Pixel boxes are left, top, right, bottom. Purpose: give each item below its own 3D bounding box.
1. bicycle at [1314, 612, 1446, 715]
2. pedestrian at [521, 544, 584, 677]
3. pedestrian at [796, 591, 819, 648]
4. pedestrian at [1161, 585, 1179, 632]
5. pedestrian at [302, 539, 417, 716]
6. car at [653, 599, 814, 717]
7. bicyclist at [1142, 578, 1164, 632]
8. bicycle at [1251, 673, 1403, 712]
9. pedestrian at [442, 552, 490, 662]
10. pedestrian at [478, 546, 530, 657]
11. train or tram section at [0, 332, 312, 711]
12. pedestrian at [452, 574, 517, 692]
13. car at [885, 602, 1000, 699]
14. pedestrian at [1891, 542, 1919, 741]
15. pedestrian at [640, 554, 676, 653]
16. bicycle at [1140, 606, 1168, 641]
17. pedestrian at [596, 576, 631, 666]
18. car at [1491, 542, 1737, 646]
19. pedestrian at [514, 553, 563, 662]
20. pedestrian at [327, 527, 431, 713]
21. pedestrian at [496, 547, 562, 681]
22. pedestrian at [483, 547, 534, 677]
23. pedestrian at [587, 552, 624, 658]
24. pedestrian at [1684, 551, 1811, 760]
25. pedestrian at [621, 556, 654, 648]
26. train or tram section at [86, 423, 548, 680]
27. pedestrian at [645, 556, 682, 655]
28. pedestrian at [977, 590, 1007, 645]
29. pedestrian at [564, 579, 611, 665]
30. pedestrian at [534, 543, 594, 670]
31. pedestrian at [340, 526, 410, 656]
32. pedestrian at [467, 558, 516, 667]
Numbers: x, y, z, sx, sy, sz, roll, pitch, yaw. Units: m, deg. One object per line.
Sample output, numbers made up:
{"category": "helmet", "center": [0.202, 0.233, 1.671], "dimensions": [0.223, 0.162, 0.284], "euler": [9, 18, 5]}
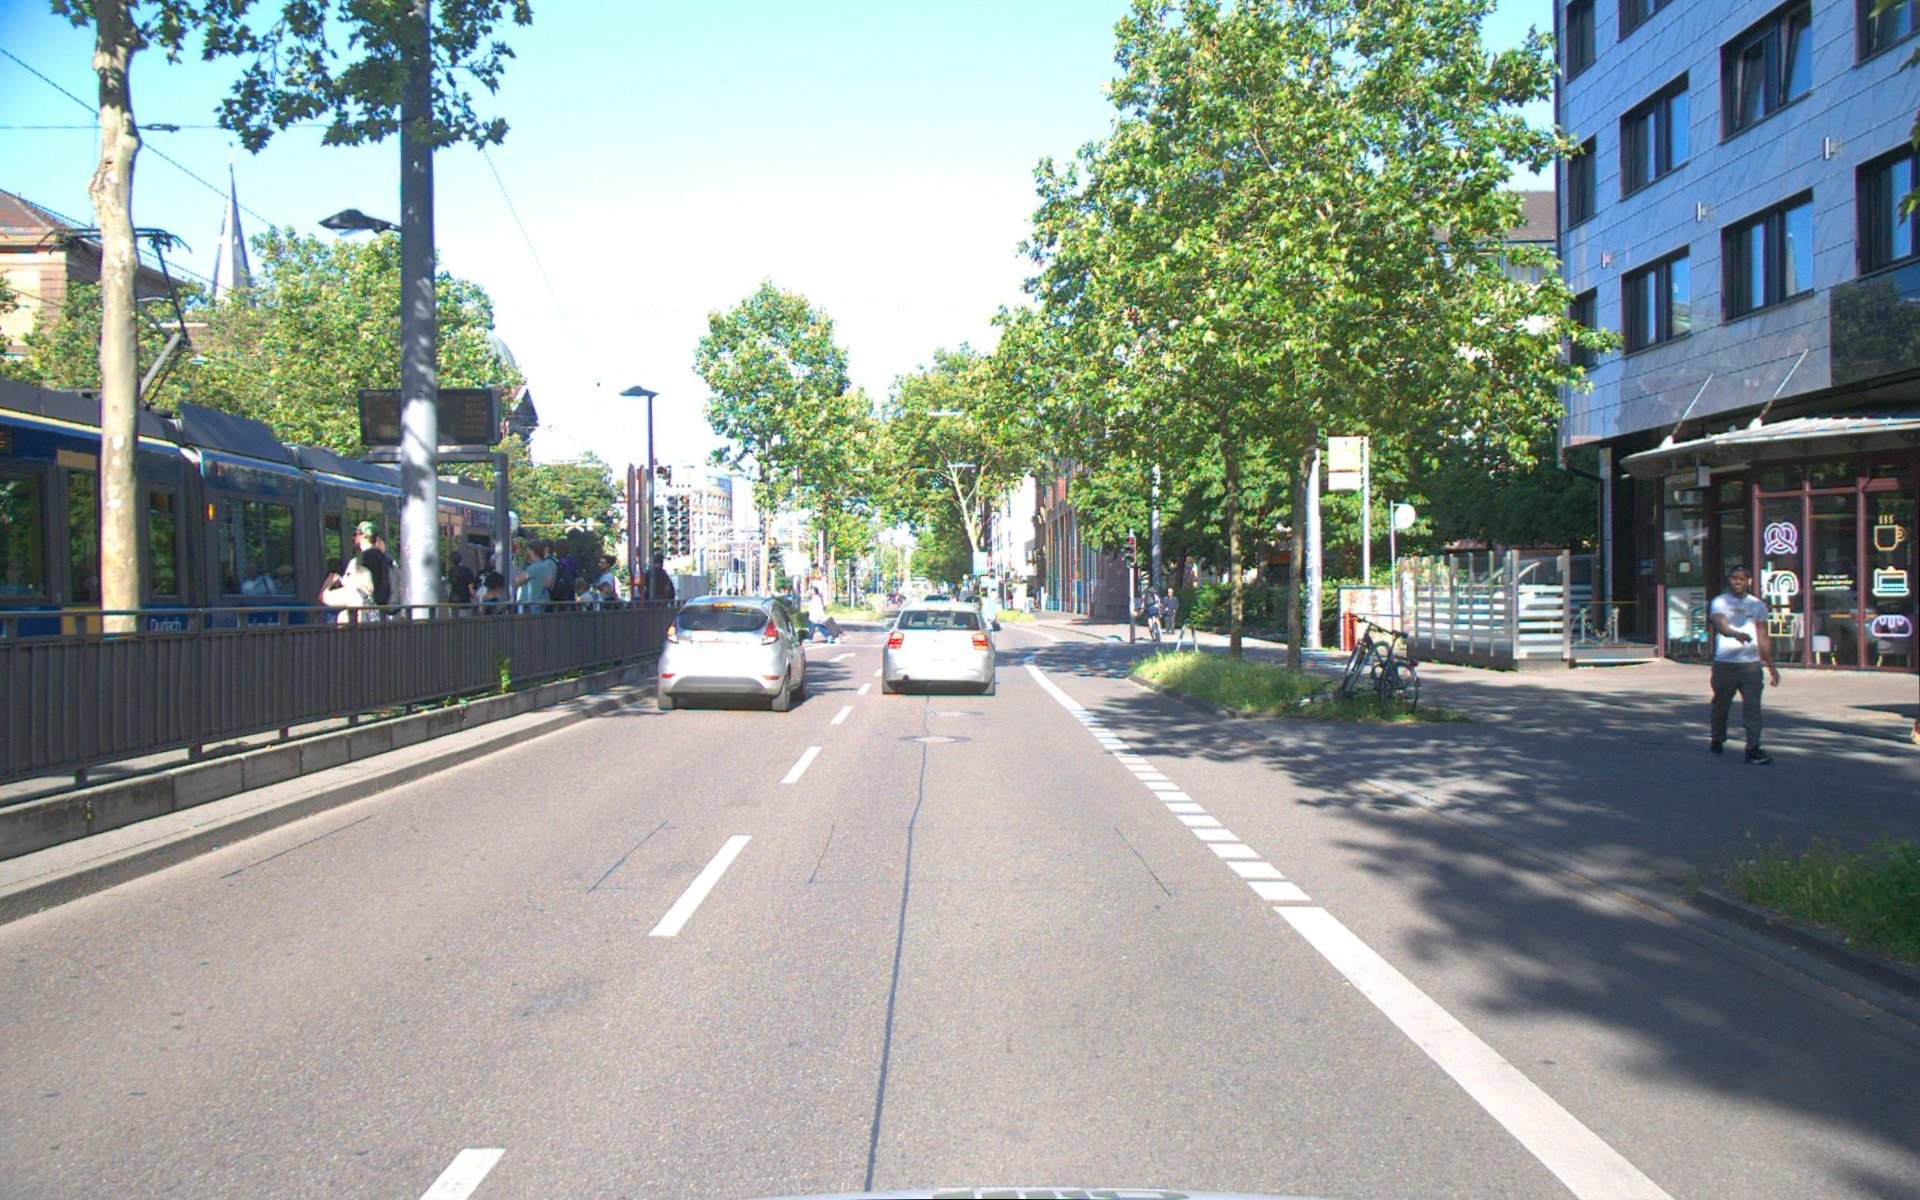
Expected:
{"category": "bicycle", "center": [5.030, 0.734, 19.948], "dimensions": [0.774, 1.153, 1.840], "euler": [-1, 0, -13]}
{"category": "pedestrian", "center": [-5.392, 0.136, 21.920], "dimensions": [0.647, 1.726, 0.571], "euler": [-1, 0, 0]}
{"category": "pedestrian", "center": [-4.480, 0.574, 48.520], "dimensions": [0.626, 1.648, 0.641], "euler": [-1, -2, -5]}
{"category": "pedestrian", "center": [7.475, 0.301, 58.853], "dimensions": [0.613, 1.657, 0.944], "euler": [0, 0, 8]}
{"category": "pedestrian", "center": [-5.402, 0.240, 14.917], "dimensions": [0.760, 1.536, 0.751], "euler": [-2, 0, -4]}
{"category": "car", "center": [-2.942, 0.712, 22.138], "dimensions": [1.626, 1.434, 3.632], "euler": [0, 0, 0]}
{"category": "bicyclist", "center": [6.152, 0.146, 52.652], "dimensions": [0.644, 1.686, 0.765], "euler": [-2, 0, 8]}
{"category": "bicycle", "center": [4.525, 1.135, 20.536], "dimensions": [1.576, 0.359, 1.389], "euler": [-1, 0, -1]}
{"category": "pedestrian", "center": [-7.932, 0.113, 26.573], "dimensions": [0.597, 1.732, 0.545], "euler": [-1, 0, -5]}
{"category": "pedestrian", "center": [-7.269, 0.020, 26.389], "dimensions": [0.620, 1.732, 0.746], "euler": [-1, 0, -5]}
{"category": "train or tram section", "center": [-9.835, -0.712, 13.659], "dimensions": [2.855, 3.317, 15.889], "euler": [1, -1, -1]}
{"category": "pedestrian", "center": [-5.262, 0.355, 18.321], "dimensions": [0.523, 1.268, 0.604], "euler": [-2, 0, -3]}
{"category": "car", "center": [-0.308, 0.755, 26.453], "dimensions": [1.695, 1.415, 3.838], "euler": [0, 0, -1]}
{"category": "pedestrian", "center": [8.808, 0.365, 14.674], "dimensions": [0.548, 1.775, 0.878], "euler": [-2, 0, -1]}
{"category": "pedestrian", "center": [-5.436, 0.061, 29.791], "dimensions": [0.537, 1.764, 0.539], "euler": [-1, 0, -5]}
{"category": "bicycle", "center": [6.146, 0.733, 52.452], "dimensions": [0.814, 1.059, 1.876], "euler": [-2, 0, 8]}
{"category": "pedestrian", "center": [-5.253, 0.309, 25.086], "dimensions": [0.407, 1.339, 0.507], "euler": [-1, 0, -3]}
{"category": "car", "center": [14.927, -0.143, 37.919], "dimensions": [4.798, 2.019, 1.913], "euler": [-4, 0, -1]}
{"category": "pedestrian", "center": [-6.616, 0.110, 25.974], "dimensions": [0.606, 1.678, 0.622], "euler": [-1, 0, -5]}
{"category": "pedestrian", "center": [-5.755, 0.194, 16.411], "dimensions": [0.760, 1.783, 0.723], "euler": [-2, 0, -4]}
{"category": "pedestrian", "center": [-5.483, 0.171, 21.058], "dimensions": [0.647, 1.662, 0.571], "euler": [-1, 0, 0]}
{"category": "pedestrian", "center": [-6.158, 0.162, 22.581], "dimensions": [0.504, 1.738, 0.621], "euler": [-1, 0, -1]}
{"category": "pedestrian", "center": [-5.903, 0.080, 27.545], "dimensions": [0.495, 1.732, 0.611], "euler": [-1, 0, -5]}
{"category": "pedestrian", "center": [6.815, 0.462, 14.355], "dimensions": [0.548, 1.734, 1.052], "euler": [-2, 0, -1]}
{"category": "pedestrian", "center": [-6.253, 0.042, 32.105], "dimensions": [0.537, 1.764, 0.539], "euler": [-1, 0, -5]}
{"category": "train or tram section", "center": [-10.020, -0.560, 28.161], "dimensions": [2.855, 3.317, 13.110], "euler": [1, -1, -1]}
{"category": "pedestrian", "center": [-5.370, 0.101, 29.937], "dimensions": [0.530, 1.764, 0.546], "euler": [-1, 0, -20]}
{"category": "pedestrian", "center": [0.945, 0.518, 49.178], "dimensions": [0.812, 1.603, 0.739], "euler": [0, 0, 7]}
{"category": "pedestrian", "center": [-5.364, 0.317, 23.817], "dimensions": [0.534, 1.213, 0.531], "euler": [-1, 0, -1]}
{"category": "pedestrian", "center": [-5.493, 0.087, 22.975], "dimensions": [0.647, 1.726, 0.571], "euler": [-1, 0, 0]}
{"category": "pedestrian", "center": [-6.143, -0.095, 17.388], "dimensions": [0.523, 1.322, 0.604], "euler": [-2, 0, -4]}
{"category": "pedestrian", "center": [-6.764, 0.178, 23.883], "dimensions": [0.534, 1.545, 0.531], "euler": [-1, 0, -1]}
